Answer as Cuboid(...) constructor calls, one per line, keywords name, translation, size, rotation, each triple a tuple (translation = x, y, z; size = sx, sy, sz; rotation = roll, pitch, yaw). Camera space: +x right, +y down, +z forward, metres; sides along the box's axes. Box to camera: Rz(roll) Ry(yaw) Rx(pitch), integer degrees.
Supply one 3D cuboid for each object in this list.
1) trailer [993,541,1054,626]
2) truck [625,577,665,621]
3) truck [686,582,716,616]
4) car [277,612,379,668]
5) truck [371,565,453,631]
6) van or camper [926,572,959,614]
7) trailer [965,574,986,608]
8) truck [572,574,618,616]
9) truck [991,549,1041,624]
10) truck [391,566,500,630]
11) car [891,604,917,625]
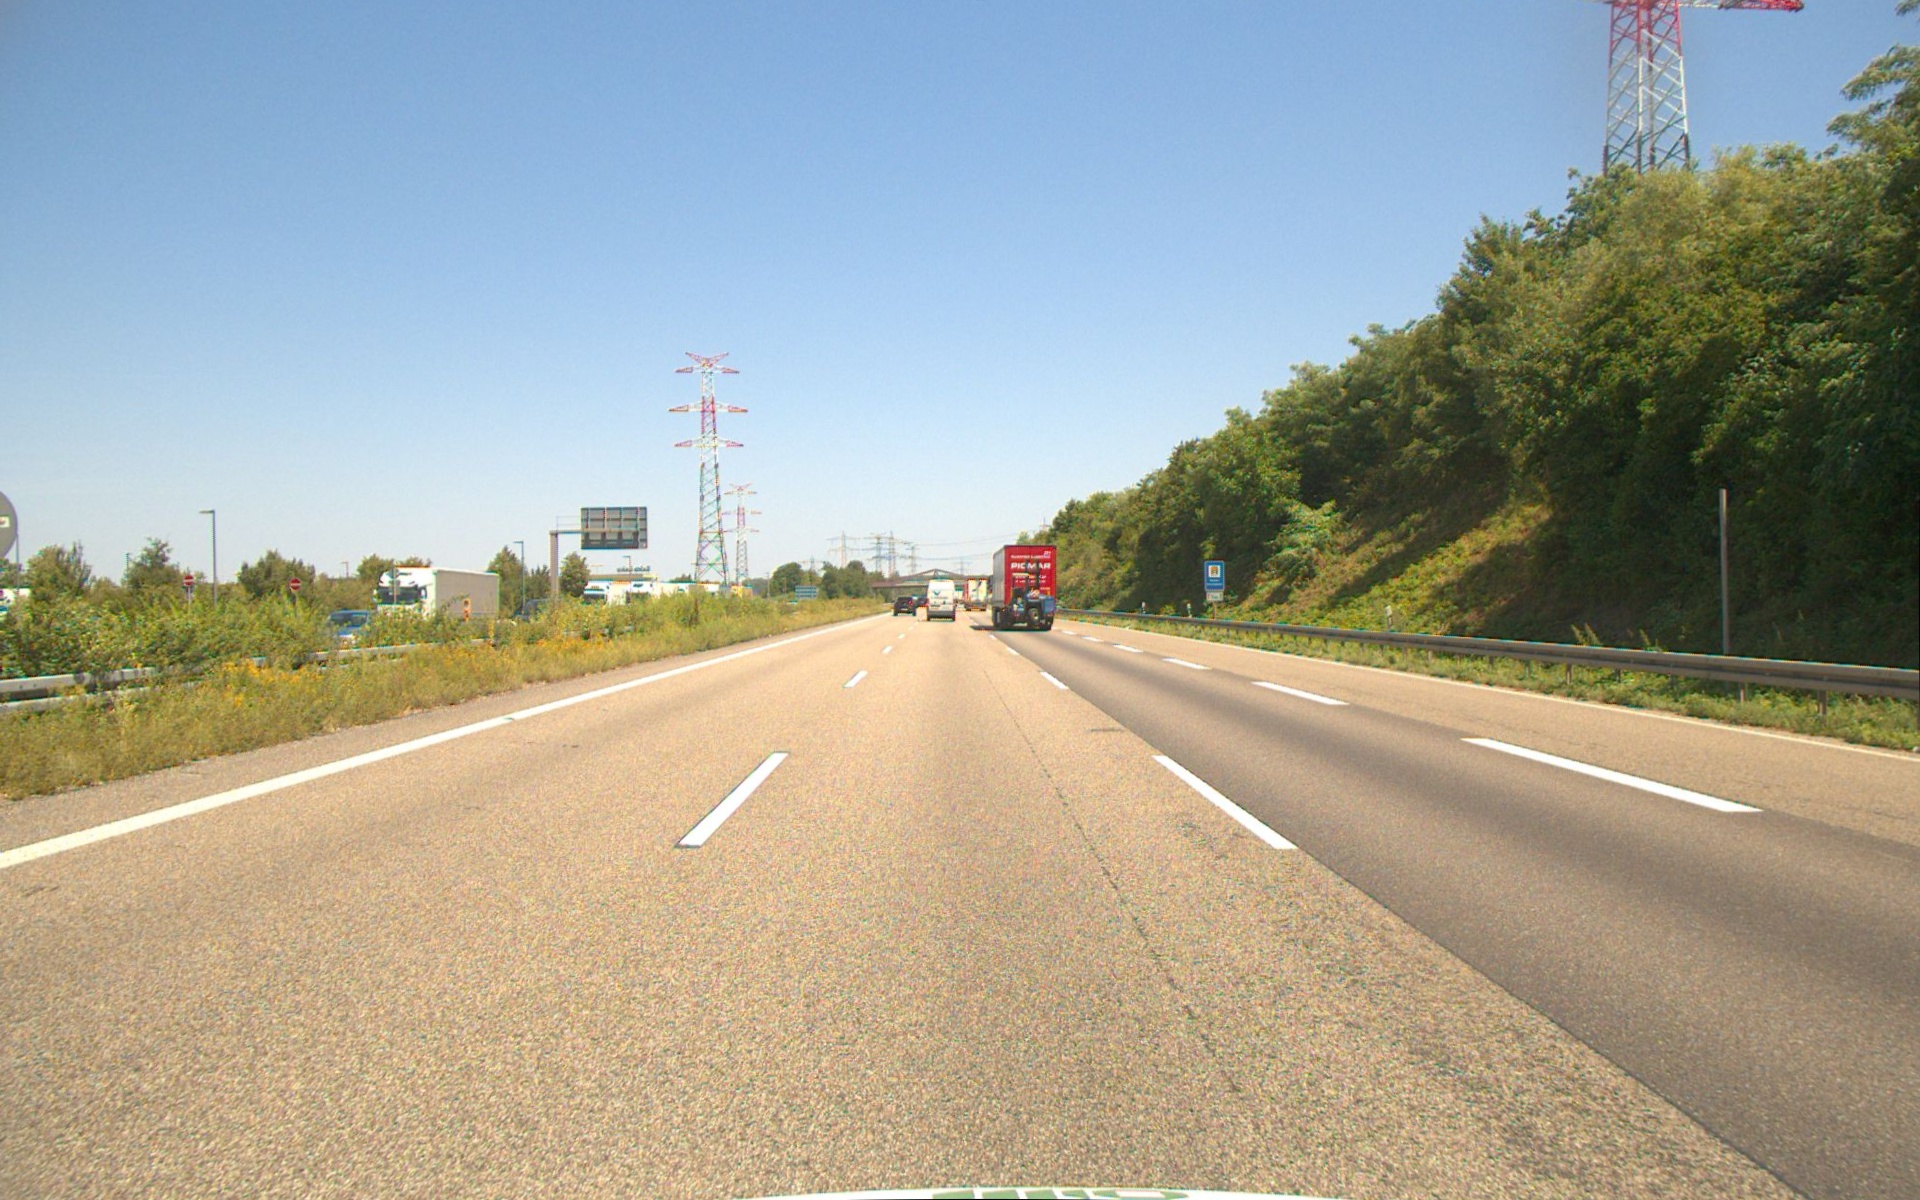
Cuboid(name="trailer", translation=(3.107, -0.742, 84.488), size=(2.439, 3.978, 14.243), rotation=(0, 0, -1))
Cuboid(name="truck", translation=(-31.257, -0.060, 164.441), size=(2.529, 4.262, 7.935), rotation=(0, 0, -1))
Cuboid(name="truck", translation=(-33.006, -0.127, 211.085), size=(2.792, 4.144, 7.087), rotation=(1, 0, -1))
Cuboid(name="car", translation=(-17.859, 1.095, 46.881), size=(1.512, 1.449, 3.851), rotation=(-2, 0, -2))
Cuboid(name="truck", translation=(-32.196, -0.098, 97.339), size=(2.742, 3.707, 6.146), rotation=(1, 0, -1))
Cuboid(name="van or camper", translation=(-1.227, -0.492, 115.275), size=(2.184, 2.831, 5.422), rotation=(1, 0, 0))
Cuboid(name="trailer", translation=(2.037, -1.119, 213.467), size=(2.583, 4.131, 12.366), rotation=(1, 0, 1))
Cuboid(name="truck", translation=(-37.964, -0.475, 172.355), size=(3.032, 4.225, 8.315), rotation=(1, 0, -1))
Cuboid(name="truck", translation=(3.031, -0.729, 91.526), size=(2.448, 3.988, 7.095), rotation=(0, 0, -1))
Cuboid(name="truck", translation=(-32.271, -0.099, 104.480), size=(2.742, 3.707, 13.604), rotation=(1, 0, -1))
Cuboid(name="car", translation=(-4.914, 1.264, 145.465), size=(1.941, 1.849, 3.813), rotation=(1, 0, 2))
